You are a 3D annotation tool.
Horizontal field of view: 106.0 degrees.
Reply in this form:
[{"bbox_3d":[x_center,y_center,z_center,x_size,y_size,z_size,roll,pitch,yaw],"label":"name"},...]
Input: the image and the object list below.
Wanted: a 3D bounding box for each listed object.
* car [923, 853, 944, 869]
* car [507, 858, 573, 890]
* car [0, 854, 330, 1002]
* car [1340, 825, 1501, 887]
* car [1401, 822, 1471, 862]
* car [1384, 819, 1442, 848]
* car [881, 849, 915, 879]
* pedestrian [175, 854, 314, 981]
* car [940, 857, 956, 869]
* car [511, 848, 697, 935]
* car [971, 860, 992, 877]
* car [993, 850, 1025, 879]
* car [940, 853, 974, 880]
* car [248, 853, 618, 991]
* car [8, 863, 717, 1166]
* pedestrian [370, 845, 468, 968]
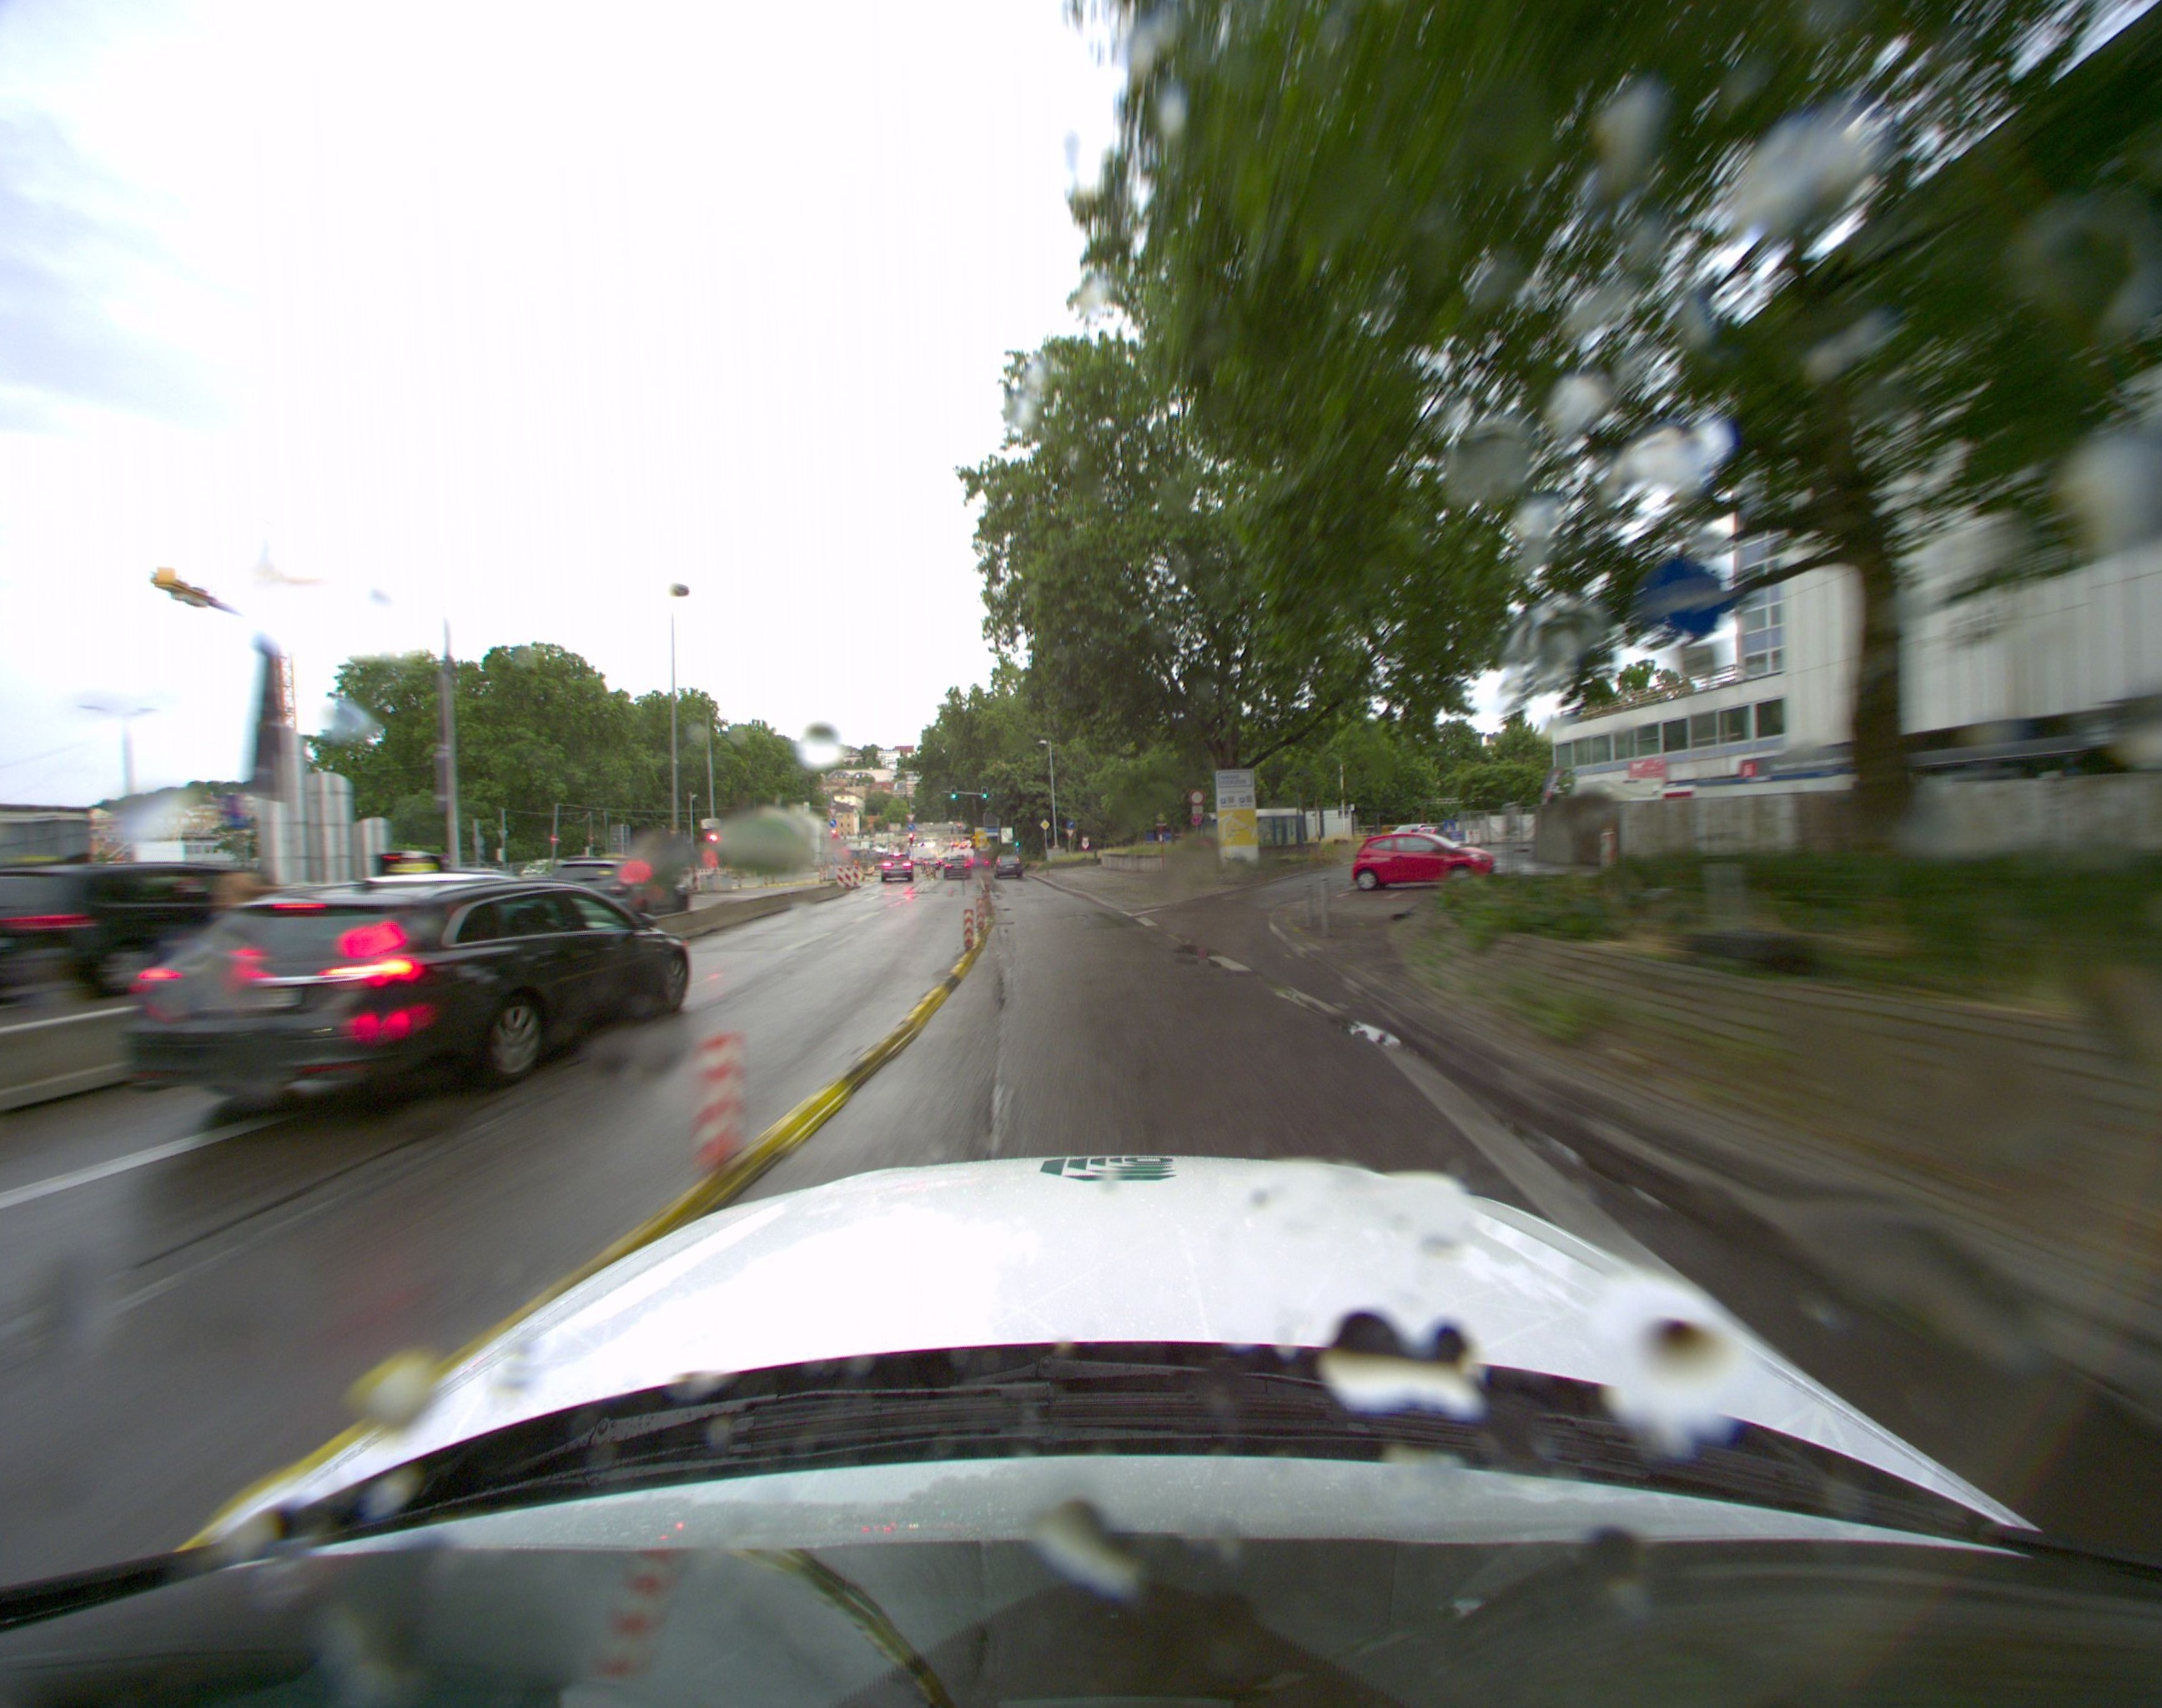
[{"bbox_3d":[-16.598,0.791,91.721,1.900,1.717,3.995,-1,0,-3],"label":"car"},{"bbox_3d":[-51.667,1.851,77.934,2.377,2.701,5.785,-3,0,-2],"label":"car"},{"bbox_3d":[-12.681,0.833,10.935,1.712,1.629,4.046,-1,0,-6],"label":"car"},{"bbox_3d":[8.883,0.069,21.390,3.572,1.506,1.745,-1,0,37],"label":"car"},{"bbox_3d":[19.374,-0.630,44.322,2.106,2.014,4.677,-1,0,42],"label":"car"},{"bbox_3d":[21.670,-1.303,53.041,1.926,1.781,4.481,-1,0,44],"label":"car"},{"bbox_3d":[-11.701,0.642,52.235,1.995,1.827,3.984,-1,0,-11],"label":"car"},{"bbox_3d":[-11.787,0.856,11.513,0.830,1.682,1.028,-2,0,1],"label":"pedestrian"},{"bbox_3d":[-18.213,1.223,111.309,1.639,1.624,3.772,-1,0,-18],"label":"car"},{"bbox_3d":[-10.073,0.731,17.615,1.993,1.530,4.139,-3,0,-9],"label":"car"},{"bbox_3d":[-9.594,1.366,78.954,1.670,1.581,3.237,-1,0,-2],"label":"car"},{"bbox_3d":[-4.494,0.649,51.448,1.848,1.717,3.995,-1,0,-3],"label":"car"},{"bbox_3d":[-8.339,0.809,54.986,1.826,1.686,4.129,-2,0,-3],"label":"car"},{"bbox_3d":[-9.337,0.840,12.453,1.991,1.567,4.866,-3,0,-5],"label":"car"},{"bbox_3d":[-4.982,0.893,6.879,1.874,1.508,4.845,-2,0,-4],"label":"car"},{"bbox_3d":[-11.274,0.869,13.882,1.016,2.013,0.841,-2,0,22],"label":"pedestrian"}]
